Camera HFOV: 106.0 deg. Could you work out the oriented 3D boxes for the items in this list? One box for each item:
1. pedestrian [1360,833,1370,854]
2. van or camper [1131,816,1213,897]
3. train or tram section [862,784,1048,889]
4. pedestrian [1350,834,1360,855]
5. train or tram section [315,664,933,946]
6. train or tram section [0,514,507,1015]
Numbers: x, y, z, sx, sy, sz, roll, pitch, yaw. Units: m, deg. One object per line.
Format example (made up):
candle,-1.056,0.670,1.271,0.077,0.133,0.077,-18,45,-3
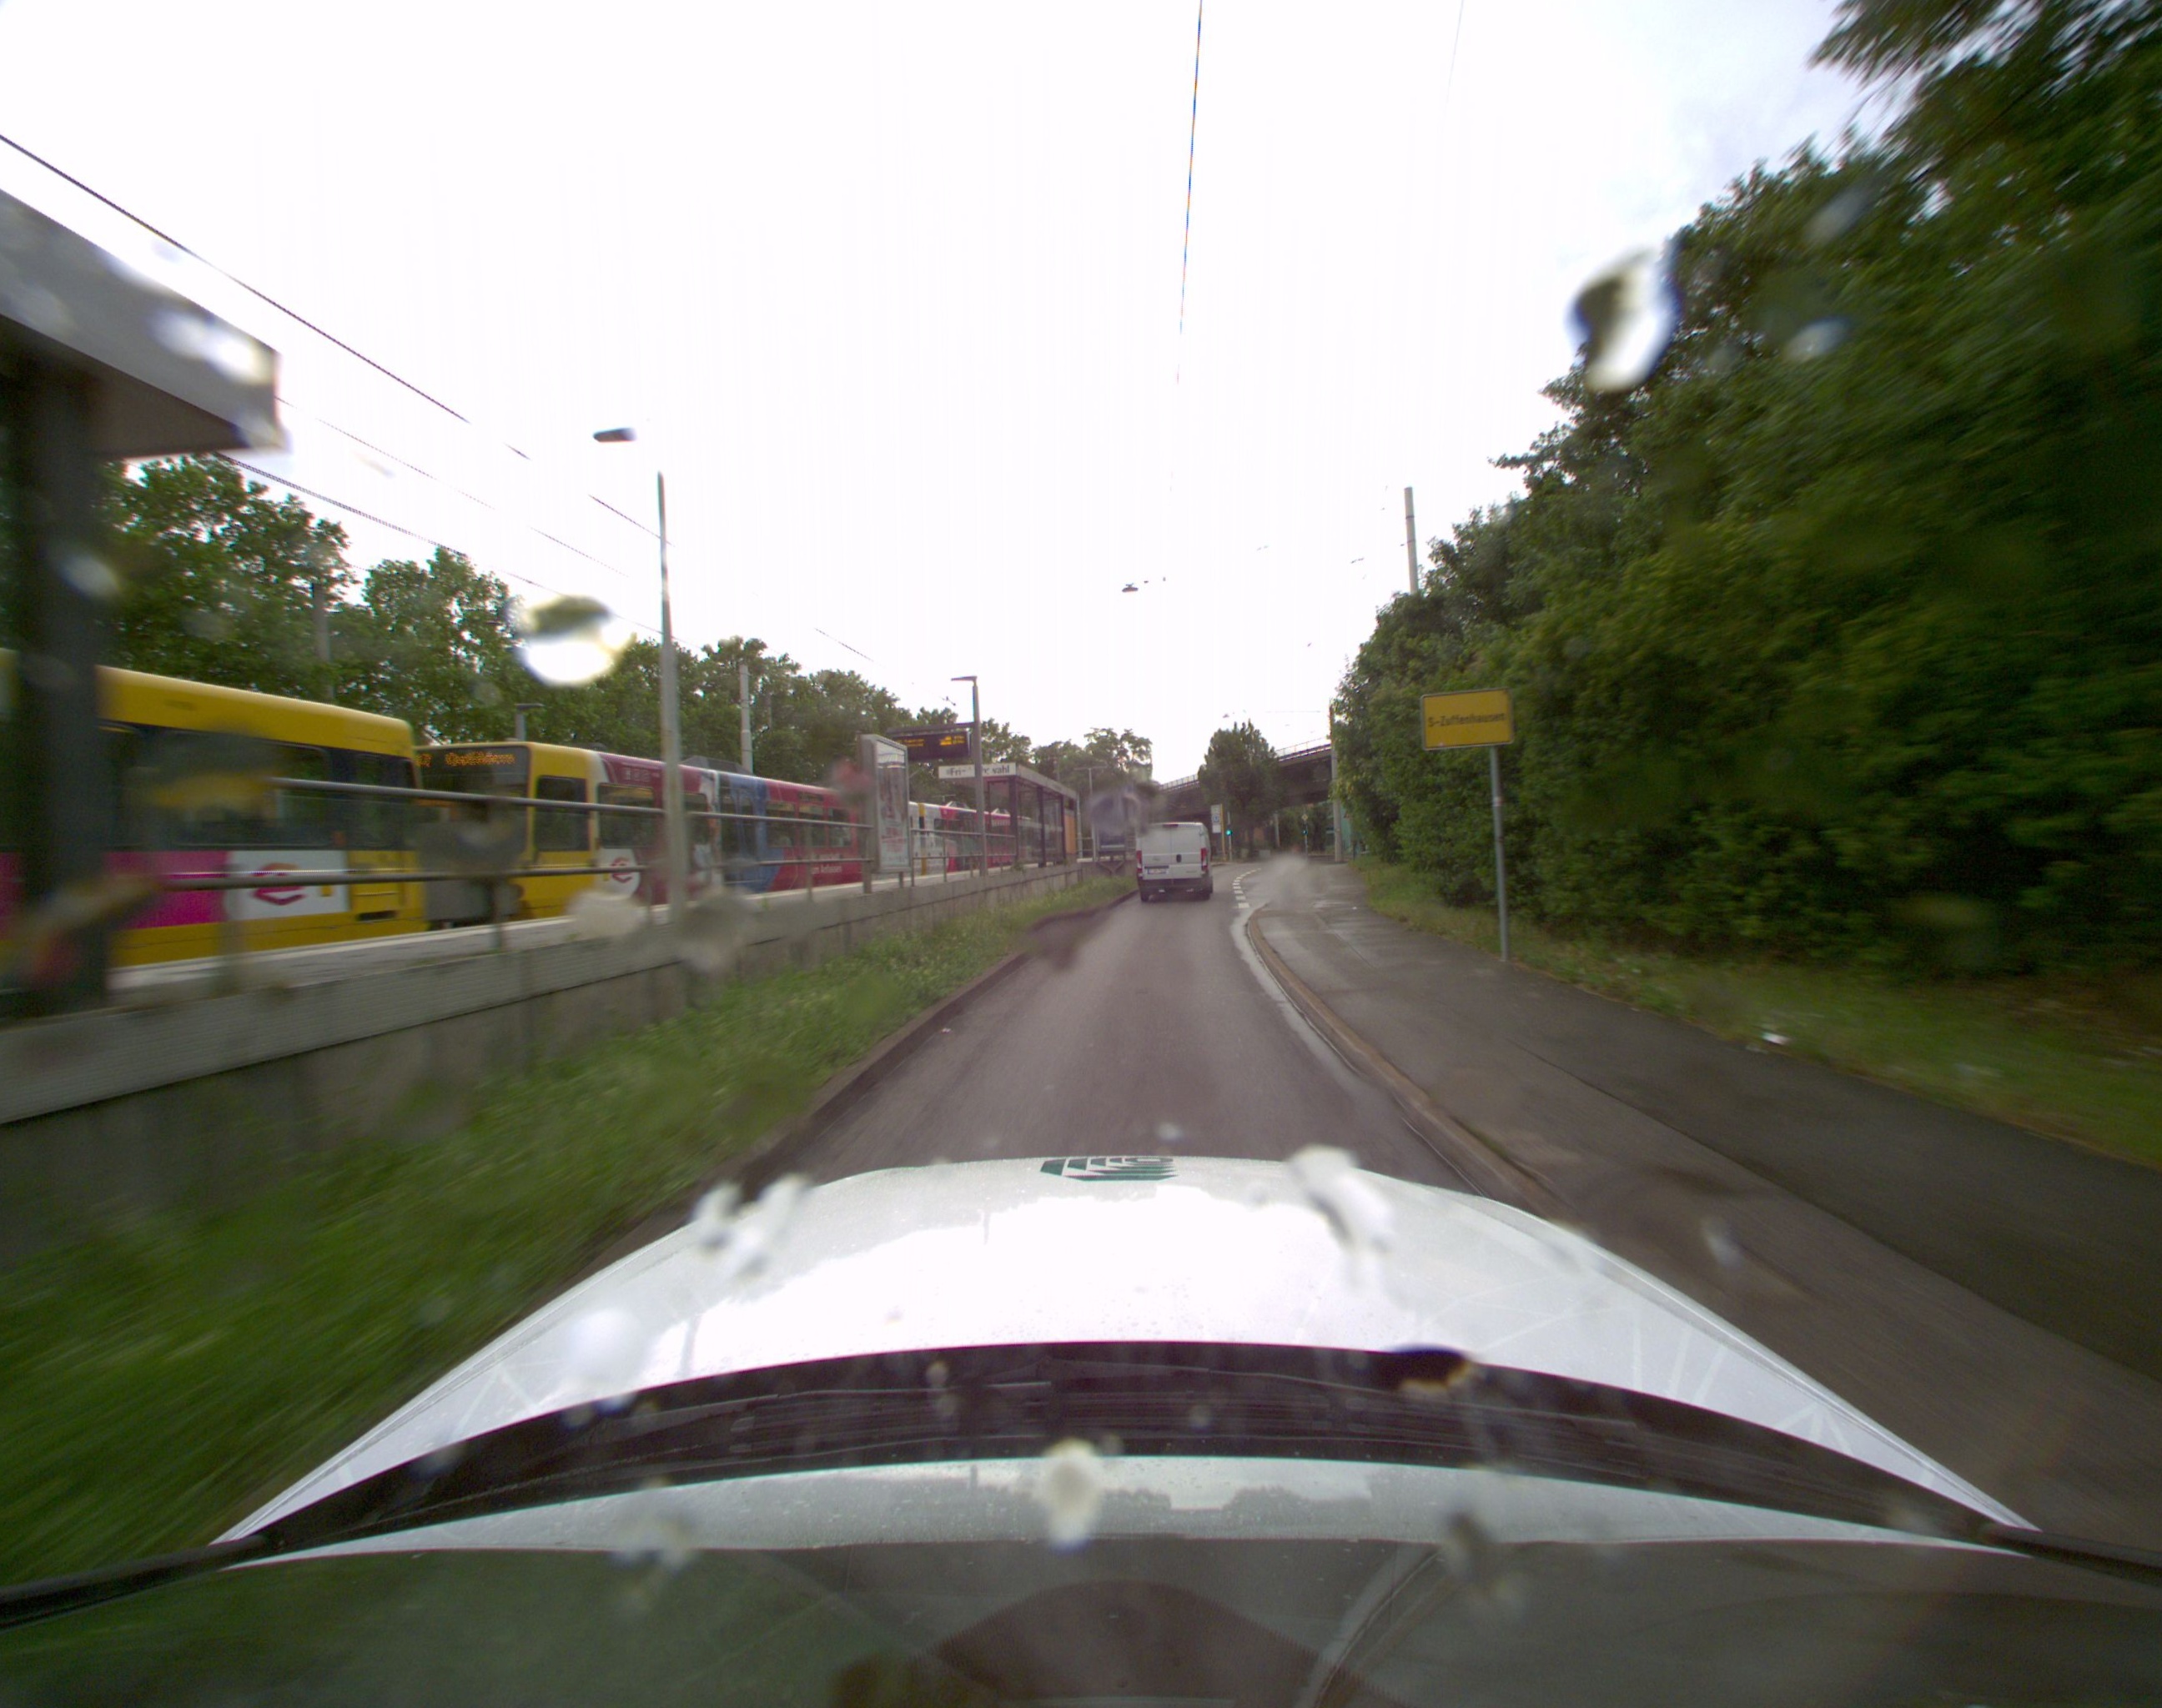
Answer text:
pedestrian,25.064,-0.939,71.894,0.594,1.822,0.911,0,0,8
van or camper,2.908,0.081,25.099,2.185,2.252,4.697,0,0,10
train or tram section,-5.203,-0.631,40.414,2.850,3.960,19.386,0,0,10
pedestrian,24.305,-0.837,72.292,0.622,1.808,0.837,0,0,5
train or tram section,-8.337,-0.669,21.230,2.852,3.971,19.374,0,0,8
train or tram section,-10.361,-0.712,1.915,2.854,3.954,19.357,0,0,5
